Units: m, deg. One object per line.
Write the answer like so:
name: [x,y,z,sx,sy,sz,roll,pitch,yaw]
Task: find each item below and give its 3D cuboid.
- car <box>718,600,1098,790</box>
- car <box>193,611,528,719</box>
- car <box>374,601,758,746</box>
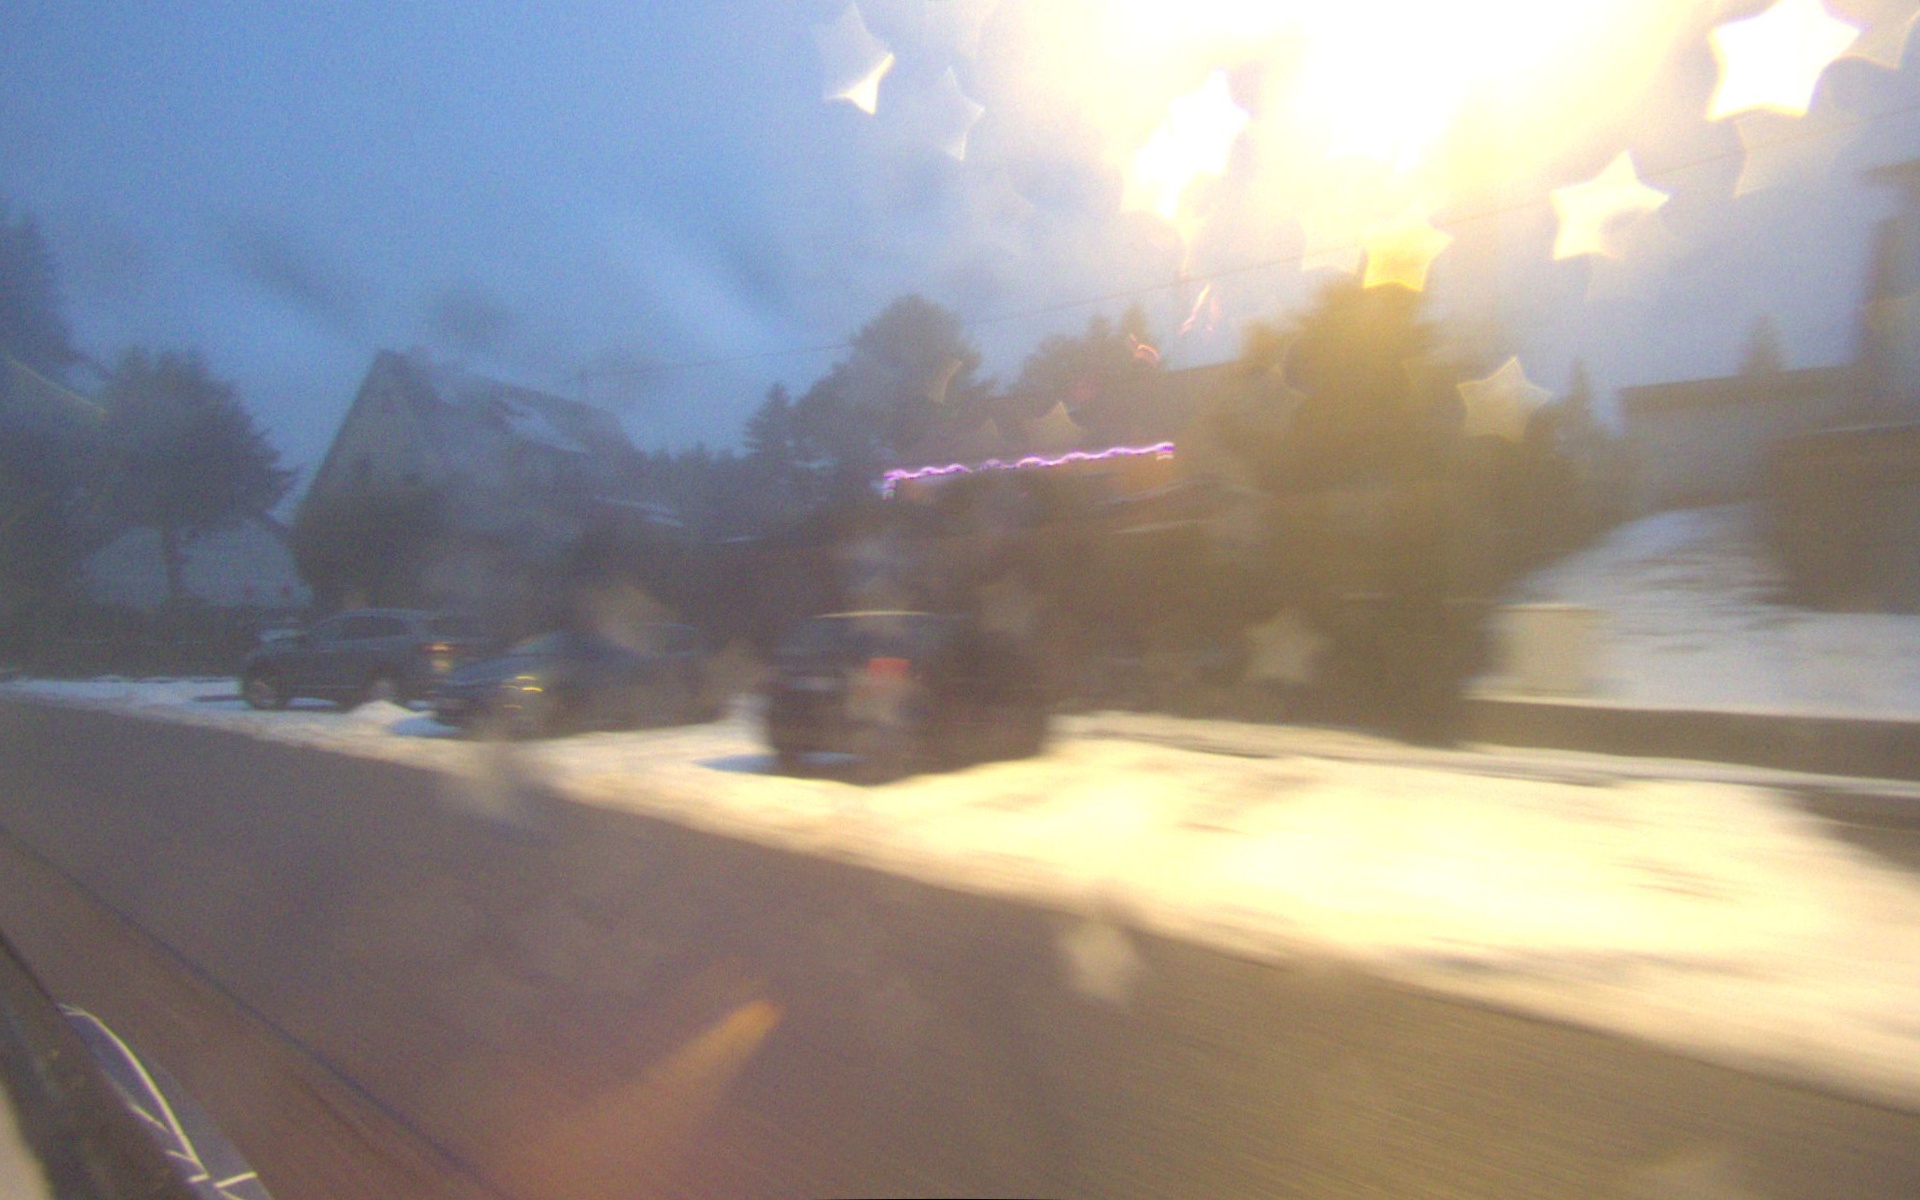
car: [-0.310,0.842,10.073,1.933,1.483,3.823,-1,-3,33]
car: [-9.832,1.029,16.640,4.958,1.578,1.987,0,-4,19]
car: [-4.982,0.911,13.536,2.101,1.578,4.498,-1,-3,28]
